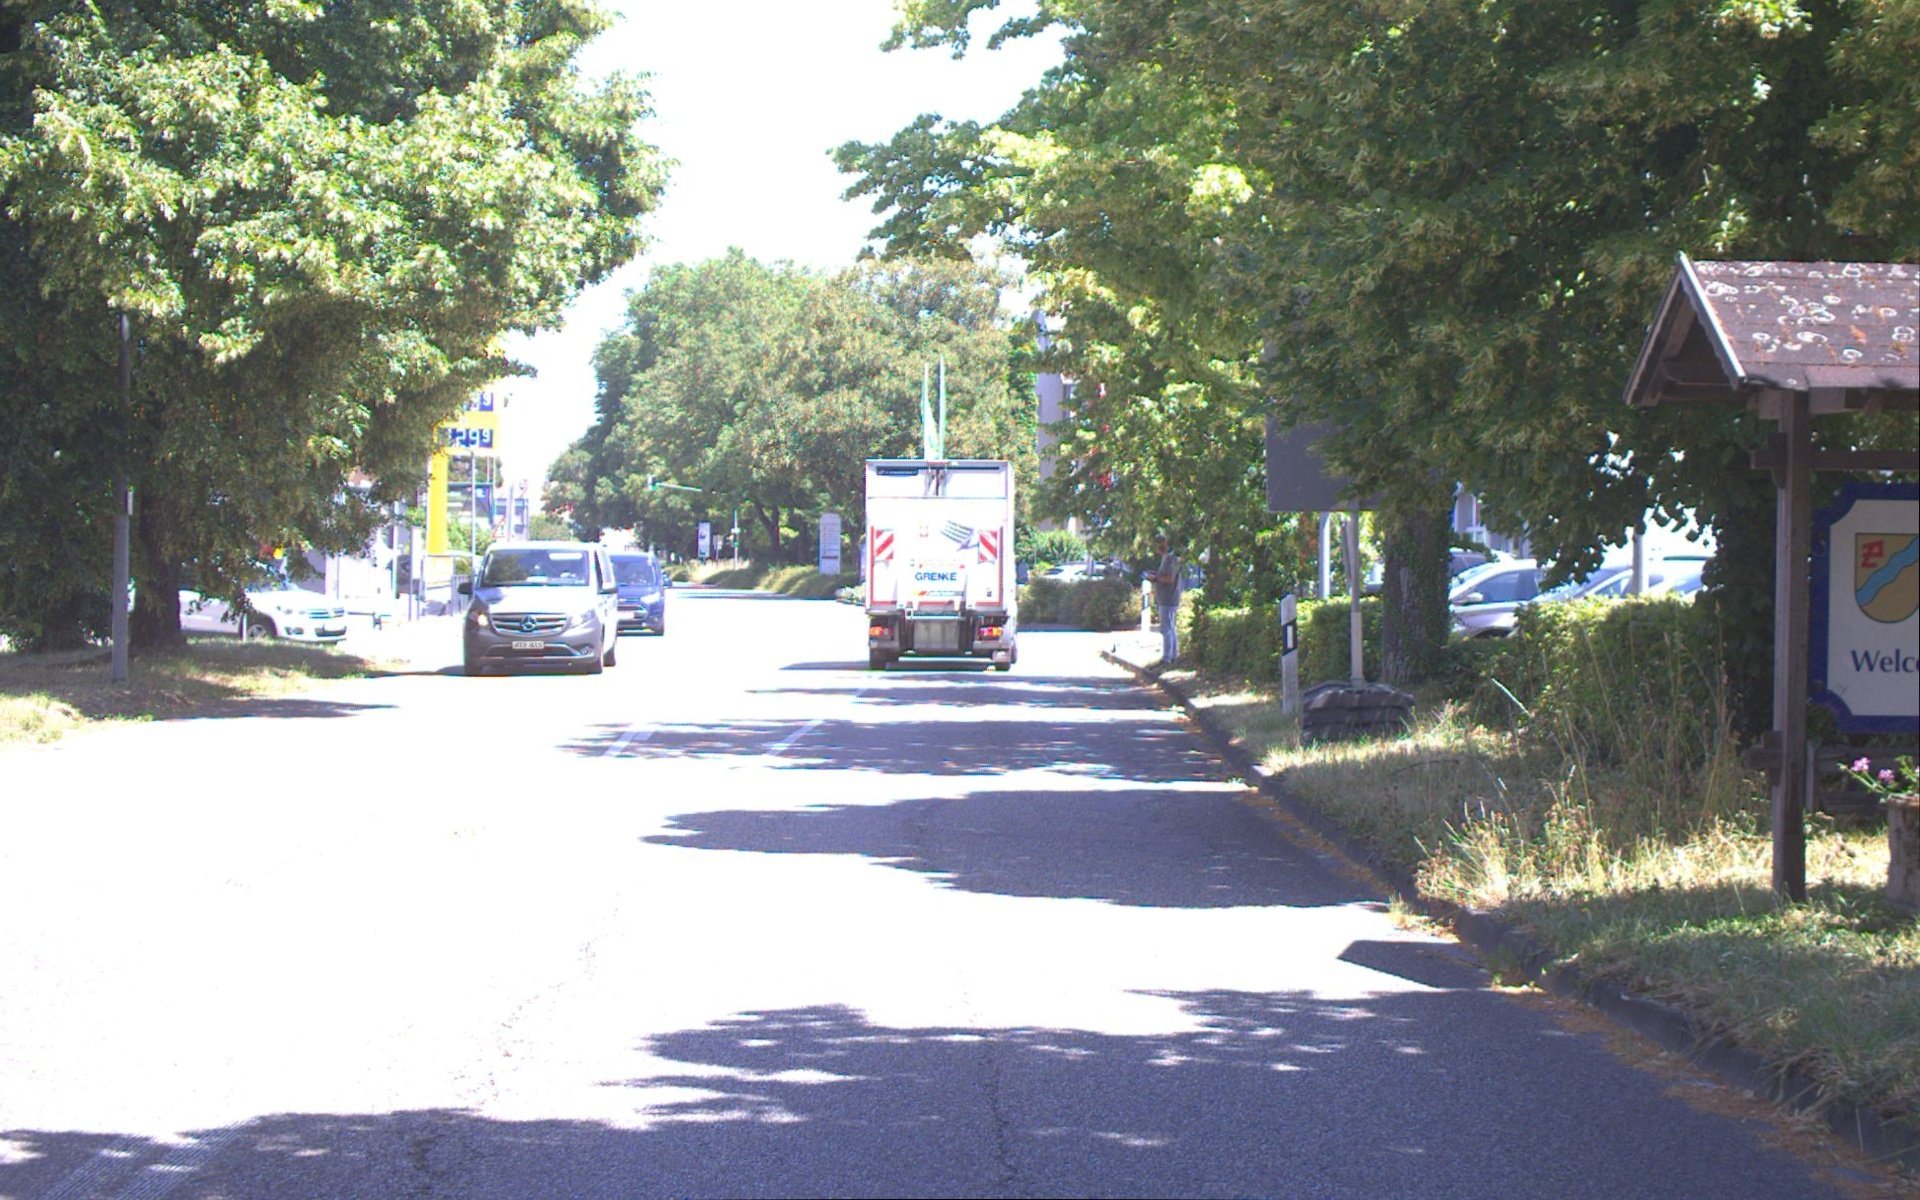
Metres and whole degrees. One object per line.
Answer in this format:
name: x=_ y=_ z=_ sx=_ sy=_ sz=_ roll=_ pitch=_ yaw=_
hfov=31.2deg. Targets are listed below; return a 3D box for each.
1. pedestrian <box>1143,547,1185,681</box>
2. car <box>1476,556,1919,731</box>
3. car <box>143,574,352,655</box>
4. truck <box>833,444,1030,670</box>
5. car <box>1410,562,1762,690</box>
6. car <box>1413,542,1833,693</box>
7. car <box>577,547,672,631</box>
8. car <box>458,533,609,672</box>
pedestrian: x=2.719 y=0.180 z=45.774 sx=0.548 sy=1.770 sz=0.577 roll=0 pitch=0 yaw=4
car: x=7.034 y=0.370 z=31.225 sx=4.391 sy=1.533 sz=1.831 roll=0 pitch=1 yaw=-1
car: x=-12.228 y=0.229 z=58.986 sx=3.427 sy=1.357 sz=1.333 roll=0 pitch=1 yaw=27
truck: x=-0.342 y=-0.664 z=50.222 sx=2.534 sy=3.124 sz=5.361 roll=0 pitch=1 yaw=3
car: x=7.545 y=0.301 z=41.668 sx=3.945 sy=1.505 sz=1.706 roll=0 pitch=0 yaw=-1
car: x=7.035 y=0.169 z=36.764 sx=4.106 sy=1.571 sz=1.867 roll=0 pitch=1 yaw=-1
car: x=-7.186 y=-0.253 z=74.047 sx=1.744 sy=1.740 sz=4.579 roll=0 pitch=1 yaw=-2
car: x=-6.000 y=0.007 z=48.673 sx=1.993 sy=1.850 sz=5.317 roll=0 pitch=1 yaw=-6
